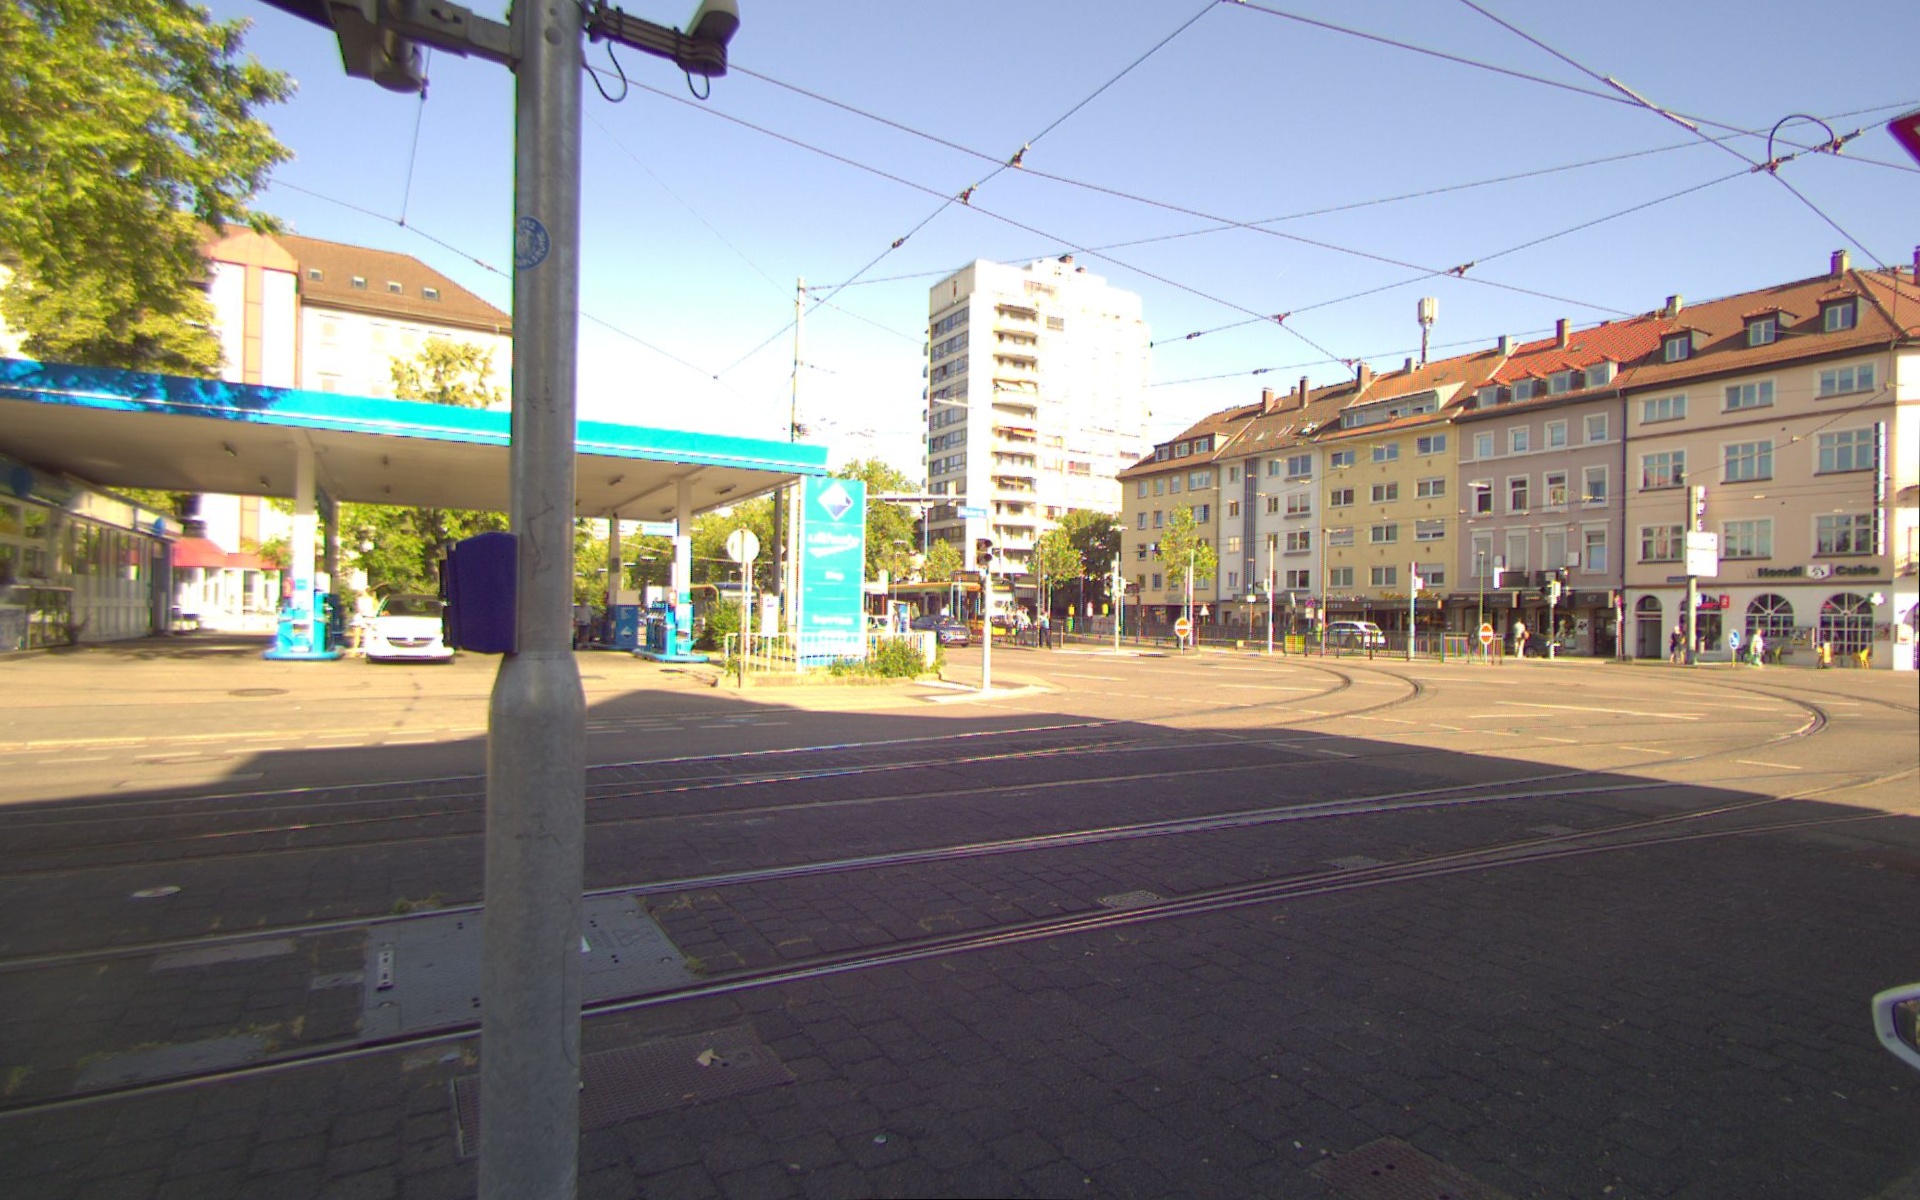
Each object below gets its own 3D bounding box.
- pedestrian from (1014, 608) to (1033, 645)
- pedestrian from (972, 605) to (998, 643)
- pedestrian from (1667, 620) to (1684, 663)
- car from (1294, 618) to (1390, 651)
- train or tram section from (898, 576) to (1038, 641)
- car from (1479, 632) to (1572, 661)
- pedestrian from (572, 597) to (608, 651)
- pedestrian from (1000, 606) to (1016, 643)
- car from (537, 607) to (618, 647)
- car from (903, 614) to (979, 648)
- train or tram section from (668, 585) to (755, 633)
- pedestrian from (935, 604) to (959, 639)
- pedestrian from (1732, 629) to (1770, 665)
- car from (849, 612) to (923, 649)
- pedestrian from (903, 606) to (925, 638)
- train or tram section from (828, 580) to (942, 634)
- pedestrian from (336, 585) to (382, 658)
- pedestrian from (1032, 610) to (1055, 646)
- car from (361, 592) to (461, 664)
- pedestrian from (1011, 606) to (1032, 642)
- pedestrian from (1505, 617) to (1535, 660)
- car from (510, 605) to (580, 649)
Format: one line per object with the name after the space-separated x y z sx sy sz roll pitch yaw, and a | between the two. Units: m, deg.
2.948 1.217 46.915 0.549 1.721 0.740 1 -1 -31 | pedestrian
1.196 1.167 48.553 0.902 1.826 0.887 1 -1 -33 | pedestrian
34.211 1.983 48.023 0.498 2.040 0.507 1 -1 -27 | pedestrian
21.203 1.897 55.960 1.977 1.682 4.824 1 -1 -30 | car
0.231 0.510 58.967 3.252 3.459 10.157 1 -1 -33 | train or tram section
30.776 2.494 54.718 1.980 1.483 3.962 1 -1 -34 | car
-12.733 0.835 34.543 0.904 1.826 0.885 1 -1 -41 | pedestrian
2.301 1.175 48.239 0.491 1.721 0.553 1 -1 -33 | pedestrian
-17.203 1.205 45.386 1.960 1.685 4.001 1 -1 2 | car
-0.958 1.486 48.352 1.937 1.475 4.077 1 0 -30 | car
-15.030 0.442 60.042 2.233 2.627 10.398 2 0 -30 | train or tram section
-0.701 1.143 53.689 0.902 1.826 0.887 1 -1 -33 | pedestrian
36.716 2.167 46.651 1.029 1.612 1.061 1 -1 -28 | pedestrian
-3.506 1.388 46.810 1.976 1.615 3.970 1 -1 -29 | car
-2.649 1.267 57.582 0.902 1.826 0.887 1 -1 -33 | pedestrian
-5.249 0.511 67.585 3.252 3.335 10.157 1 -1 -33 | train or tram section
-13.901 0.502 23.239 0.801 1.652 0.643 1 -1 -24 | pedestrian
3.794 1.275 45.644 0.791 1.646 0.706 1 -1 -33 | pedestrian
-12.272 0.605 22.437 1.773 1.461 3.968 2 -1 -30 | car
2.997 1.157 48.970 0.773 1.721 0.692 1 -1 -33 | pedestrian
24.496 1.694 43.958 0.801 1.842 0.871 1 -1 -29 | pedestrian
-13.502 0.860 32.581 1.752 1.332 3.520 1 -1 -28 | car
